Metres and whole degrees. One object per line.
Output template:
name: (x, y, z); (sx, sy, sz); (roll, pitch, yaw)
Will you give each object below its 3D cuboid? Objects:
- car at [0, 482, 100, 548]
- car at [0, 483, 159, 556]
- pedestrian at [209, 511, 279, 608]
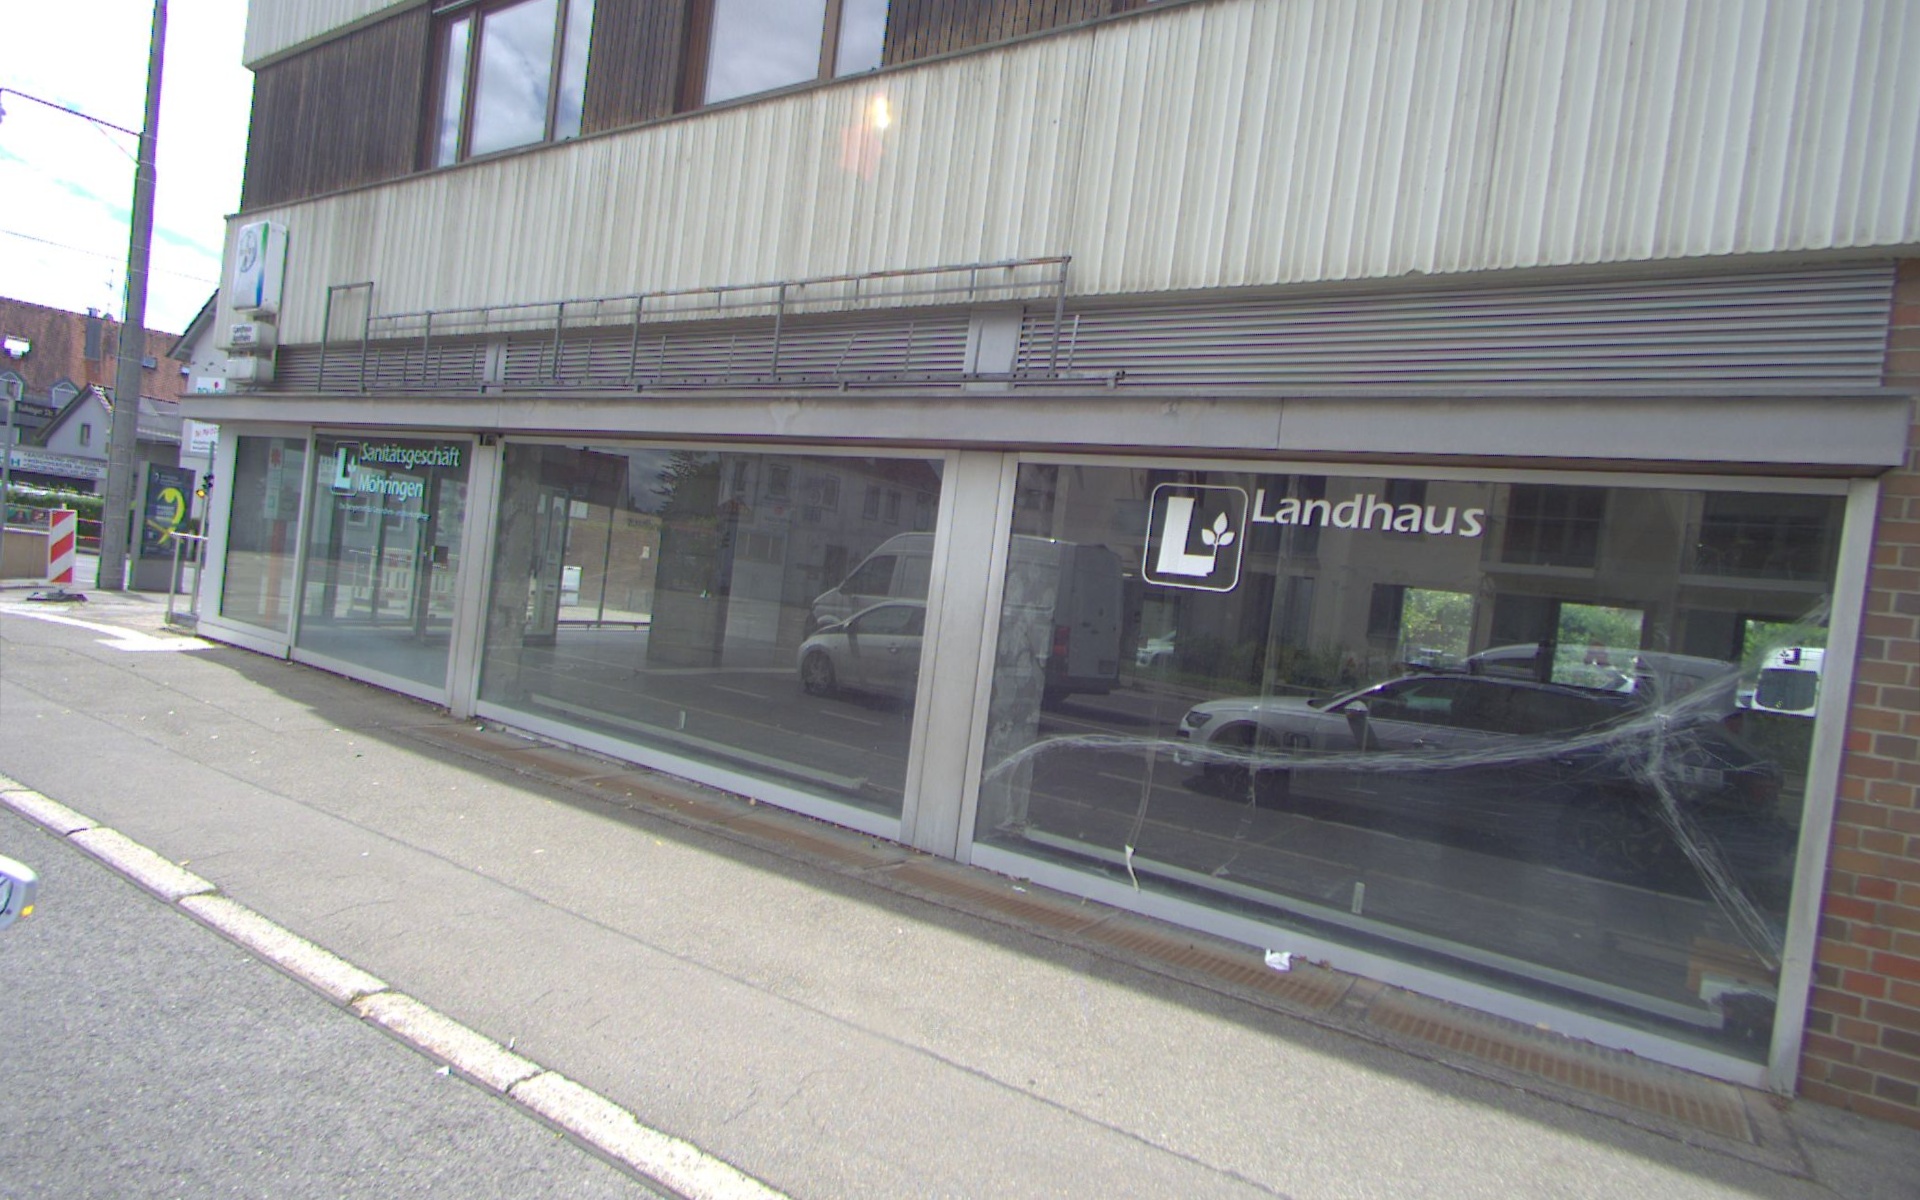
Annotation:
car: (-35.262, -3.285, 37.712); (1.964, 2.037, 4.000); (7, -1, 23)
car: (-32.749, -2.941, 37.431); (1.964, 1.971, 4.000); (7, -1, 23)
pedestrian: (-13.176, -0.746, 18.514); (0.831, 1.657, 0.863); (7, 0, -42)
